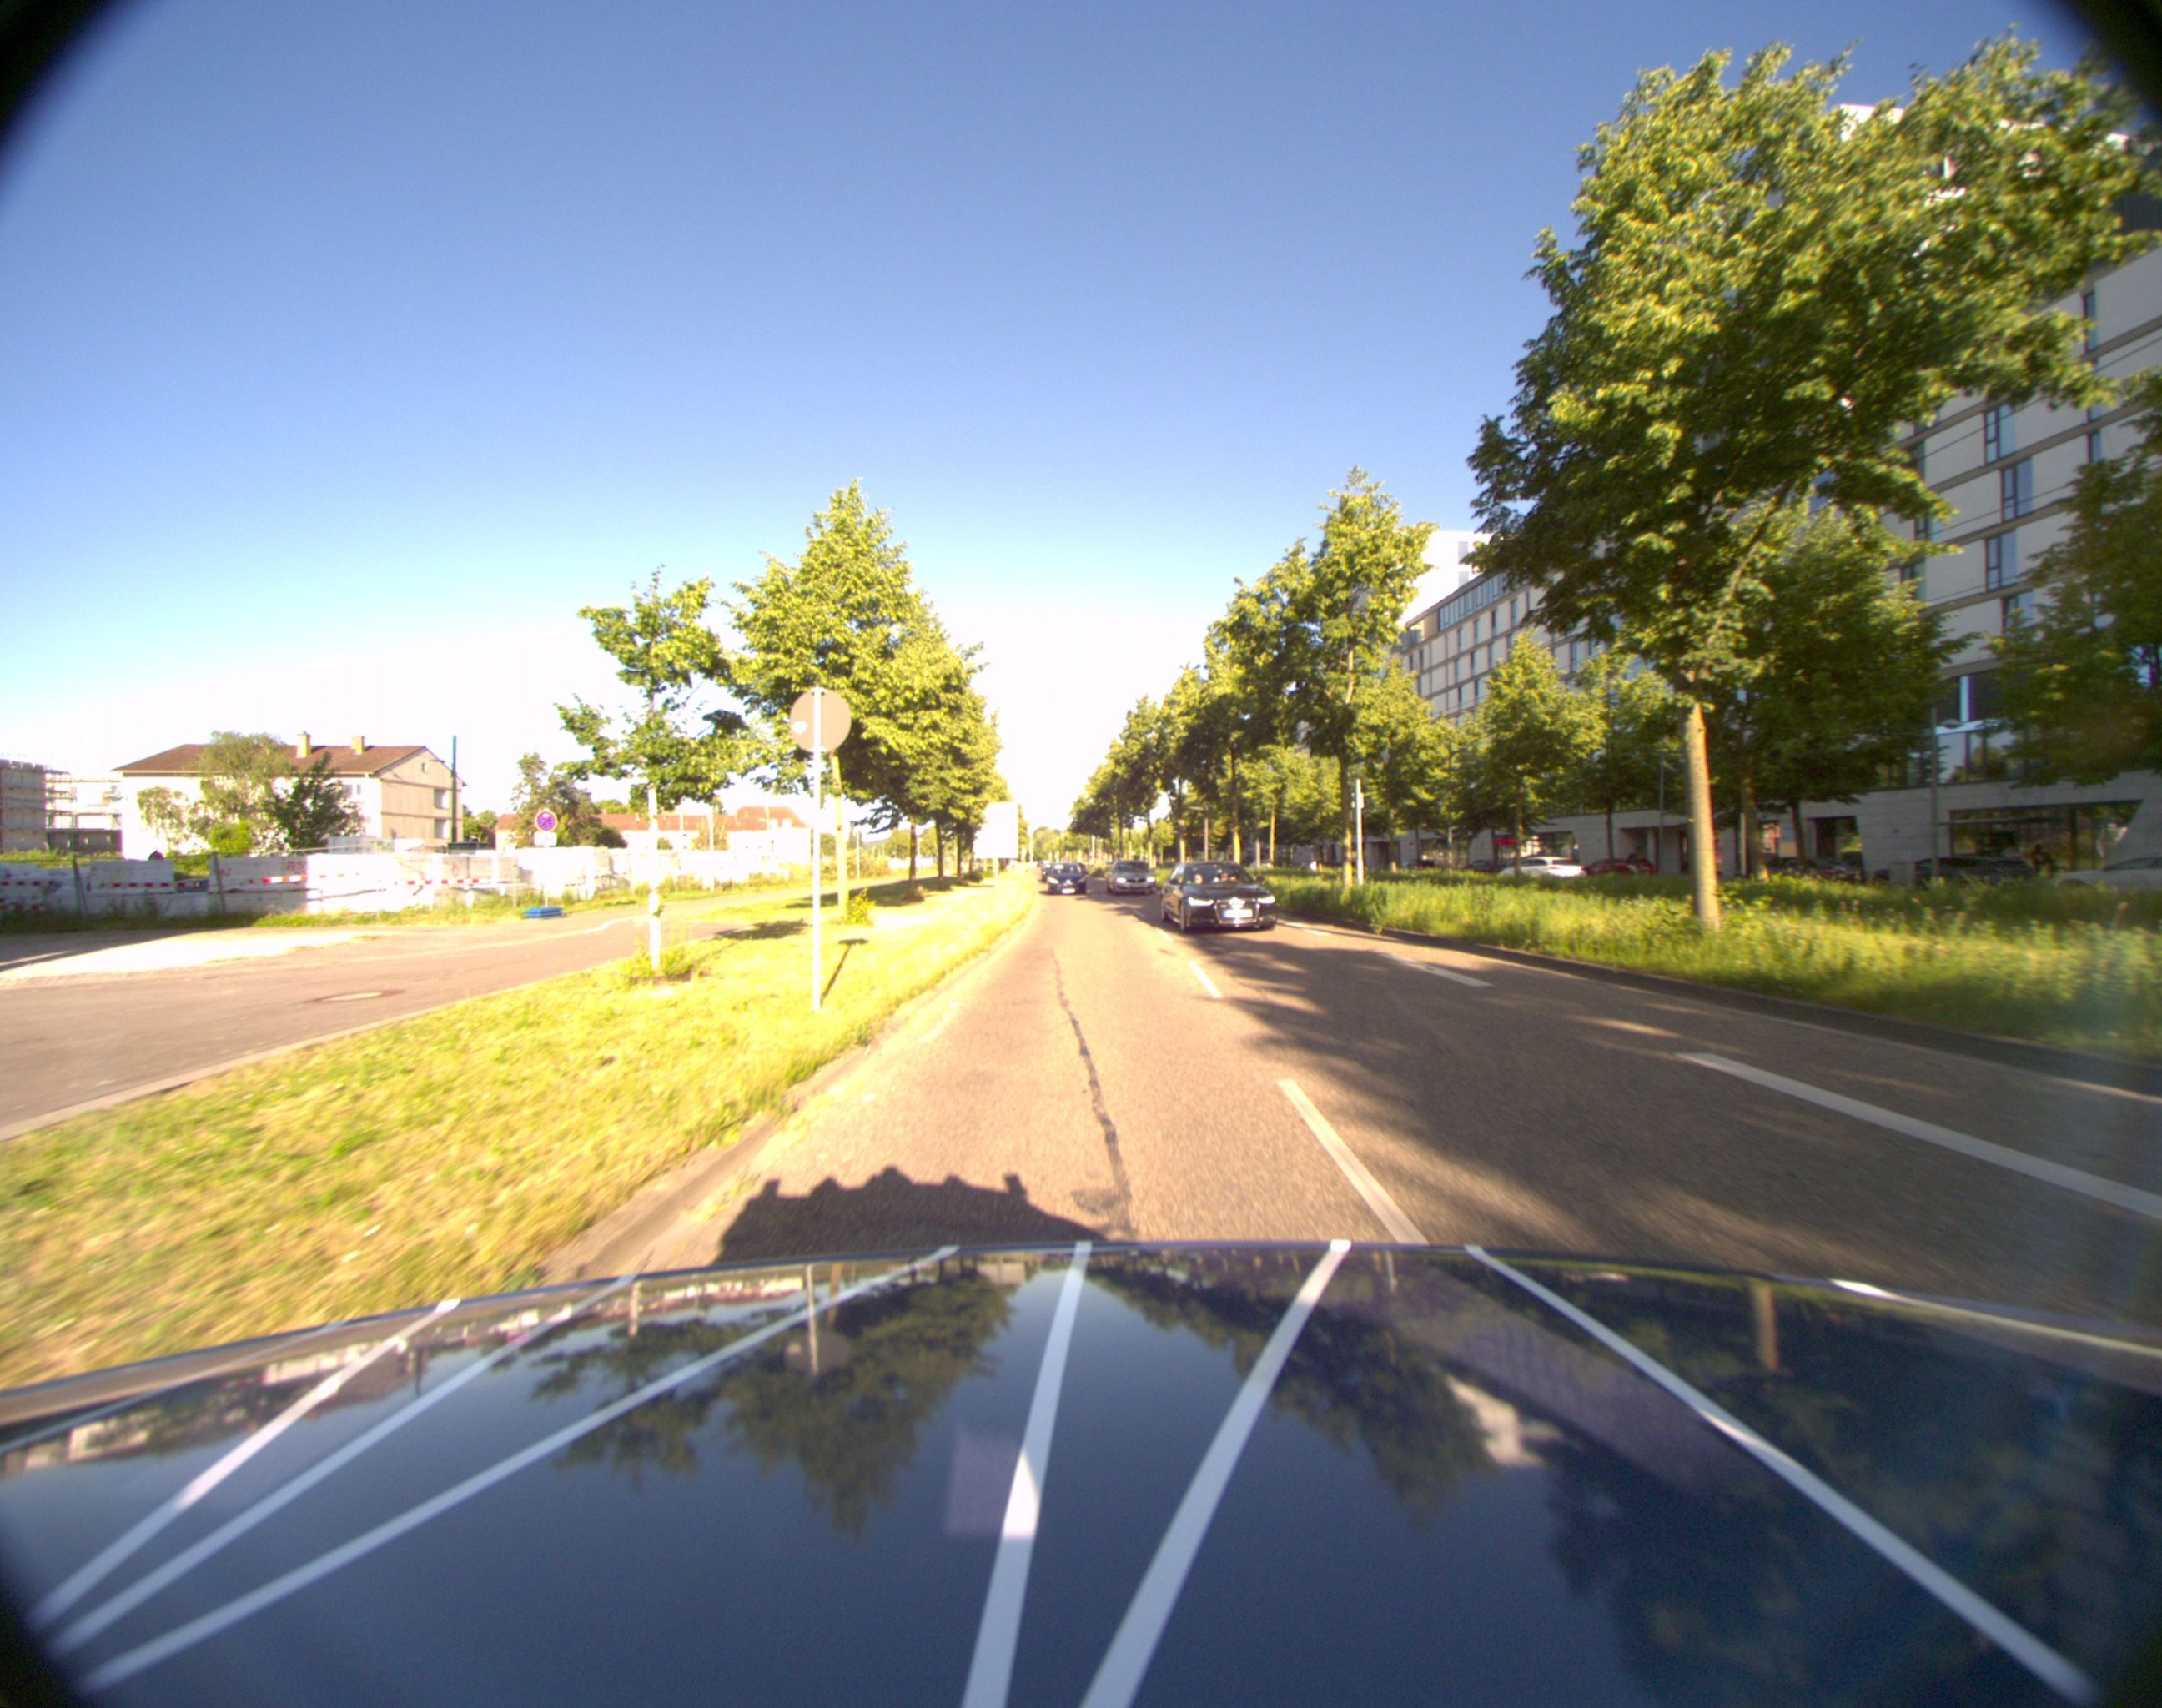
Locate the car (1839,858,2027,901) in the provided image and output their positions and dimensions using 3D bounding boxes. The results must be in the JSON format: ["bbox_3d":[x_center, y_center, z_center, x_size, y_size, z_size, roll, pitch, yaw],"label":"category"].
[{"bbox_3d":[31.188,0.920,28.063,1.720,1.411,4.545,-1,-1,-2],"label":"car"}]

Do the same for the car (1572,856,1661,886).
[{"bbox_3d":[34.807,1.129,49.600,1.803,1.766,5.128,-2,-1,-5],"label":"car"}]

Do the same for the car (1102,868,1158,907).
[{"bbox_3d":[2.091,1.419,33.910,1.849,1.559,4.527,-1,-1,-4],"label":"car"}]

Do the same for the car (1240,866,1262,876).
[{"bbox_3d":[25.649,2.568,114.655,1.964,1.411,4.544,-1,-1,-3],"label":"car"}]

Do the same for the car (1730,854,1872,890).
[{"bbox_3d":[31.086,0.752,33.022,1.720,1.411,4.544,-1,-1,-3],"label":"car"}]

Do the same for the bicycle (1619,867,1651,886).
[{"bbox_3d":[32.632,1.321,44.774,0.734,1.113,1.570,-1,-1,-1],"label":"bicycle"}]

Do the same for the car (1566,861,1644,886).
[{"bbox_3d":[30.291,1.104,44.030,1.738,1.346,3.752,-1,-1,-4],"label":"car"}]

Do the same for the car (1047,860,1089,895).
[{"bbox_3d":[-0.672,1.077,35.788,1.764,1.506,3.947,-1,-1,-4],"label":"car"}]

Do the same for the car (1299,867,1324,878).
[{"bbox_3d":[27.257,2.173,90.043,1.654,1.228,3.464,-1,1,-4],"label":"car"}]

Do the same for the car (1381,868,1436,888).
[{"bbox_3d":[22.562,1.643,52.493,1.803,1.256,3.999,-1,-1,-4],"label":"car"}]

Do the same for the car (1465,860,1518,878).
[{"bbox_3d":[29.550,1.081,54.847,1.673,1.200,3.582,-1,-1,-5],"label":"car"}]

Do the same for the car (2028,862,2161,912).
[{"bbox_3d":[31.705,0.961,22.404,1.720,1.411,4.544,-1,-1,-3],"label":"car"}]

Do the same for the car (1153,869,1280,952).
[{"bbox_3d":[2.790,1.122,16.731,1.789,1.518,4.601,-1,-1,-2],"label":"car"}]

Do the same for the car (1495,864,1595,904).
[{"bbox_3d":[21.734,1.384,35.795,1.803,1.678,4.320,-2,-1,-4],"label":"car"}]

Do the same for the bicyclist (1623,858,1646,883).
[{"bbox_3d":[32.627,0.975,44.789,0.722,1.455,0.832,-1,-1,-2],"label":"bicyclist"}]

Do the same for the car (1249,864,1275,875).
[{"bbox_3d":[21.439,1.829,90.229,1.803,1.284,4.310,0,-2,-4],"label":"car"}]

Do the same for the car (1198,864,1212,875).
[{"bbox_3d":[23.790,2.991,145.412,1.804,1.914,3.998,-1,1,-3],"label":"car"}]
